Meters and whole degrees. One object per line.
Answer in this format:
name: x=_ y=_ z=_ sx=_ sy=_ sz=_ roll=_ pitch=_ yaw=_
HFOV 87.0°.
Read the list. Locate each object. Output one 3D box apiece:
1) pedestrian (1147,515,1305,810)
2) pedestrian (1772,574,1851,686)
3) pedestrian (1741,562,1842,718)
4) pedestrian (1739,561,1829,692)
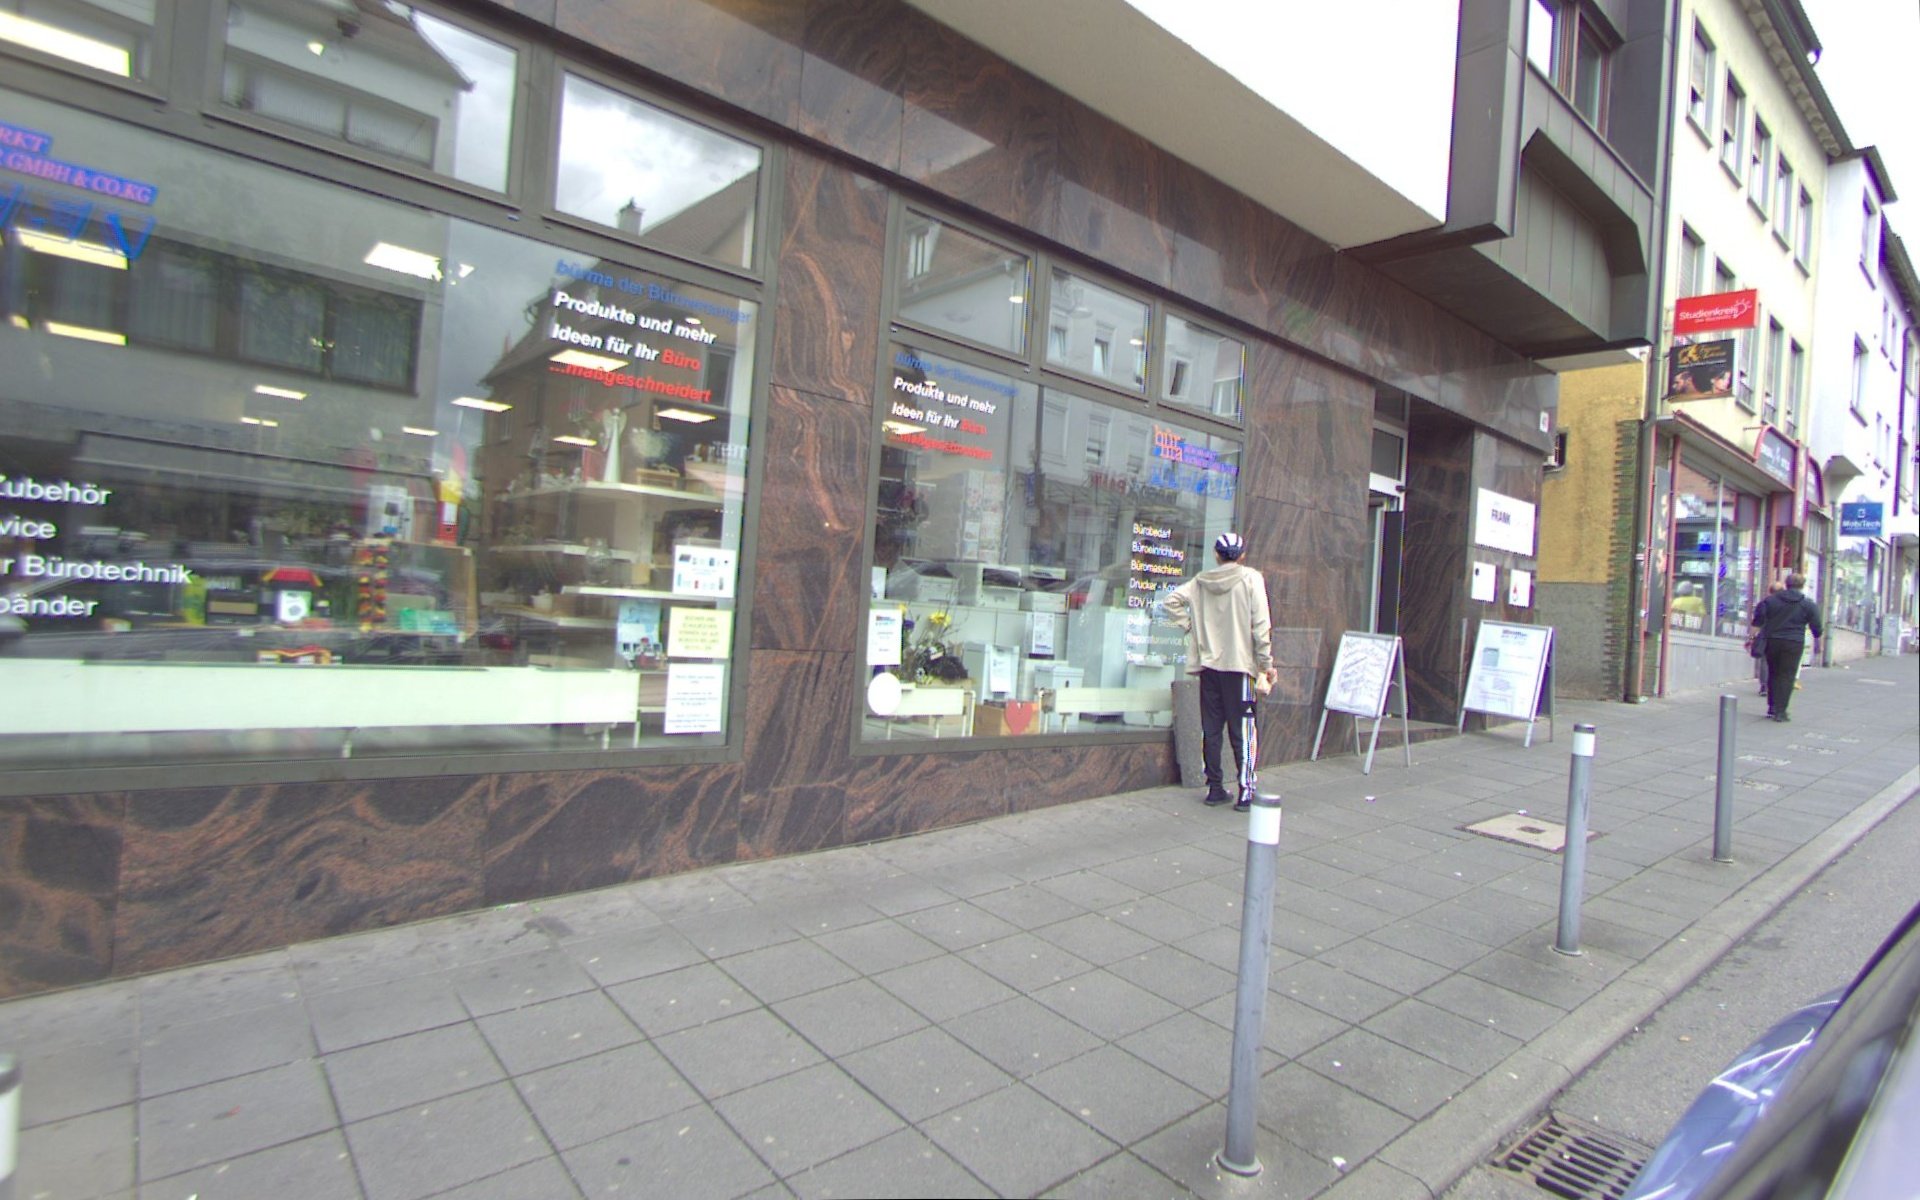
pedestrian: x=1.658 y=0.351 z=6.335 sx=0.663 sy=1.709 sz=0.535 roll=7 pitch=4 yaw=44
pedestrian: x=13.266 y=0.443 z=15.769 sx=0.820 sy=1.651 sz=0.713 roll=1 pitch=3 yaw=-40
pedestrian: x=9.965 y=0.452 z=12.128 sx=0.773 sy=1.774 sz=0.713 roll=1 pitch=3 yaw=-40
pedestrian: x=11.845 y=0.363 z=14.553 sx=0.771 sy=1.773 sz=0.713 roll=1 pitch=5 yaw=-40
